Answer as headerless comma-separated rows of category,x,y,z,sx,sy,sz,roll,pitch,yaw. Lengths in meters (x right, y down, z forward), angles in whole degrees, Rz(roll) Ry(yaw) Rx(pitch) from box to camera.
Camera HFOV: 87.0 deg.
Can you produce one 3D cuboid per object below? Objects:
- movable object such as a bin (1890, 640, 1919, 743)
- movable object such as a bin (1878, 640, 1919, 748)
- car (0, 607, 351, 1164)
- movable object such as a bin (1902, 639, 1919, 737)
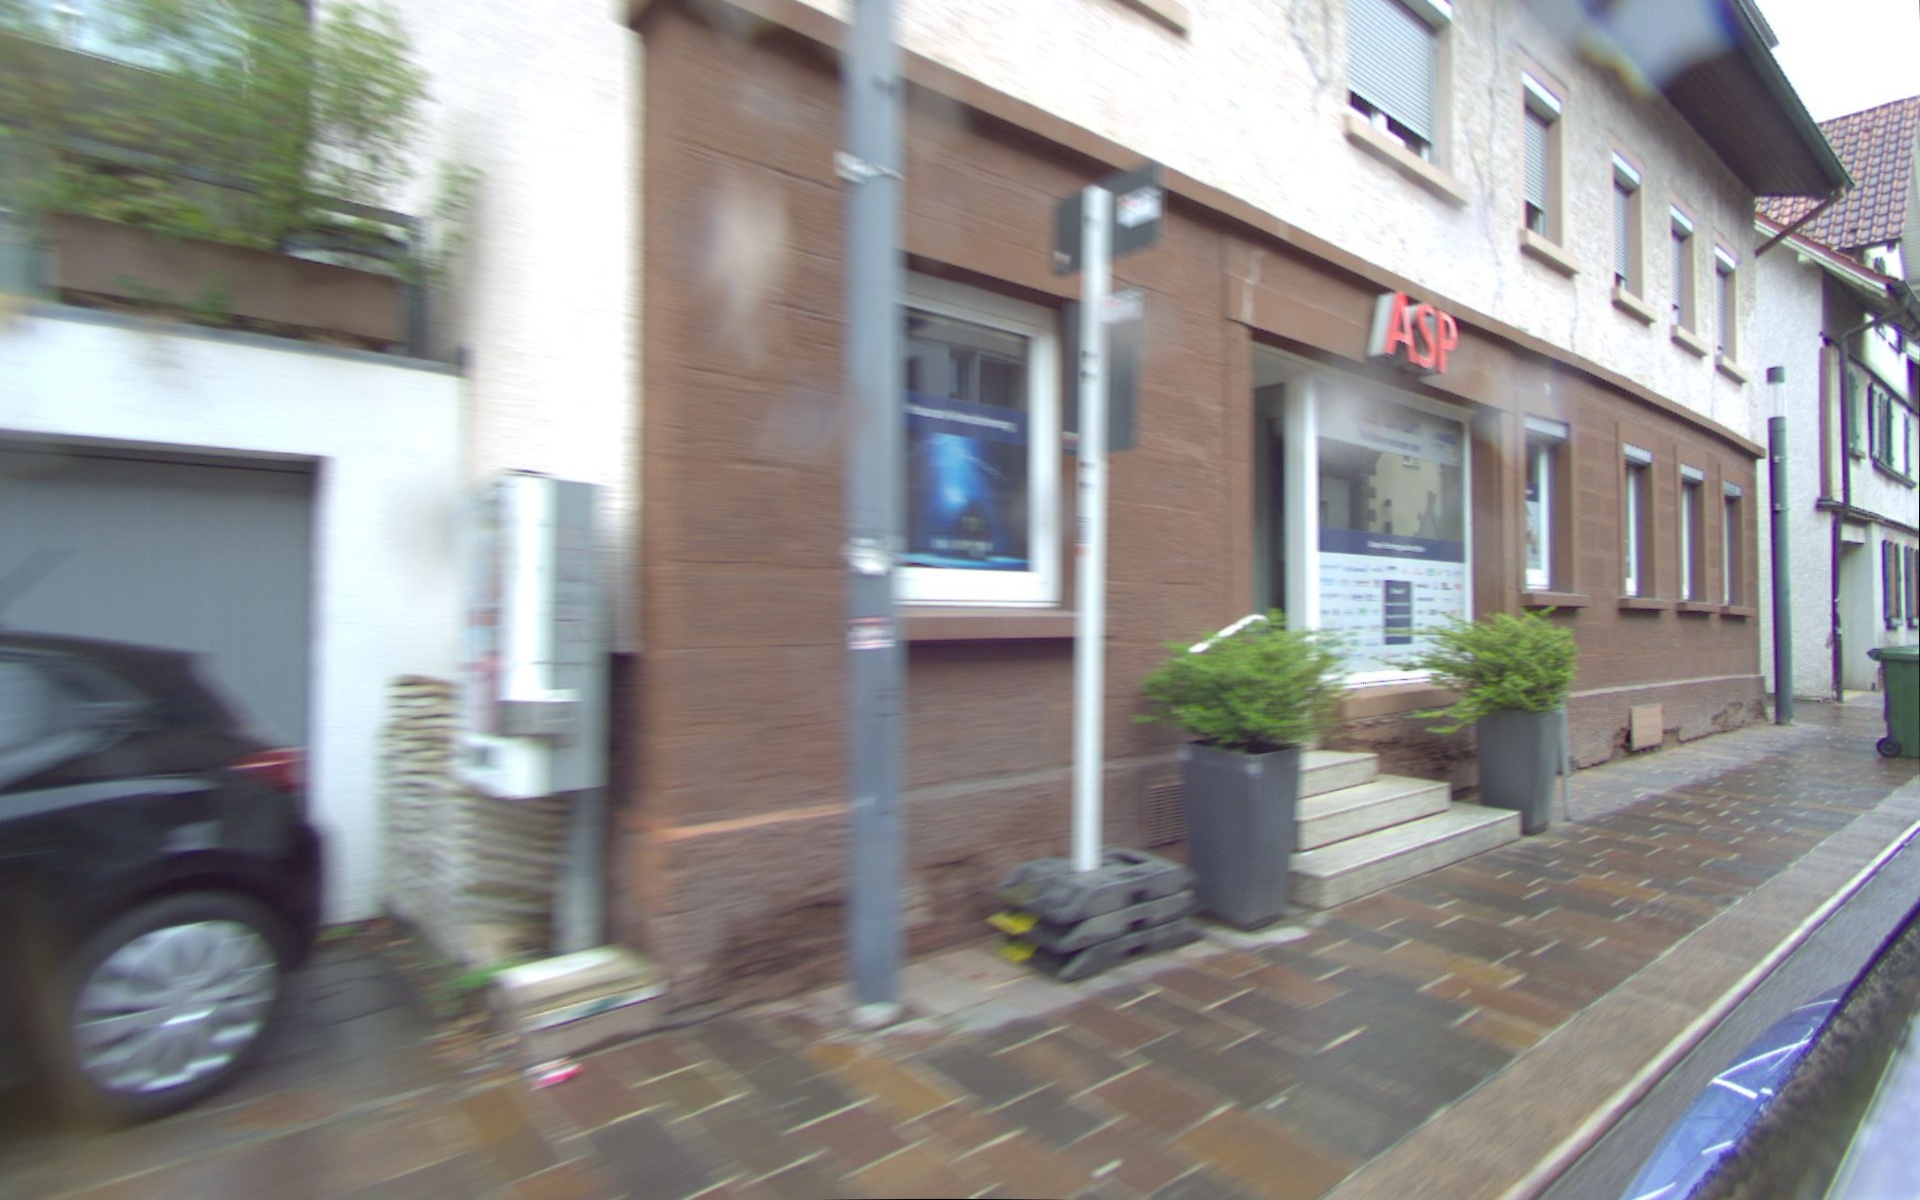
movable object such as a bin,10.180,0.945,10.455,0.627,1.035,0.734,1,-2,-38
movable object such as a bin,9.670,0.928,10.028,0.627,1.035,0.734,1,-2,-38
car,-3.615,0.715,1.955,1.721,1.374,3.901,0,0,26
movable object such as a bin,10.684,0.946,10.862,0.627,1.035,0.734,1,-2,-38
